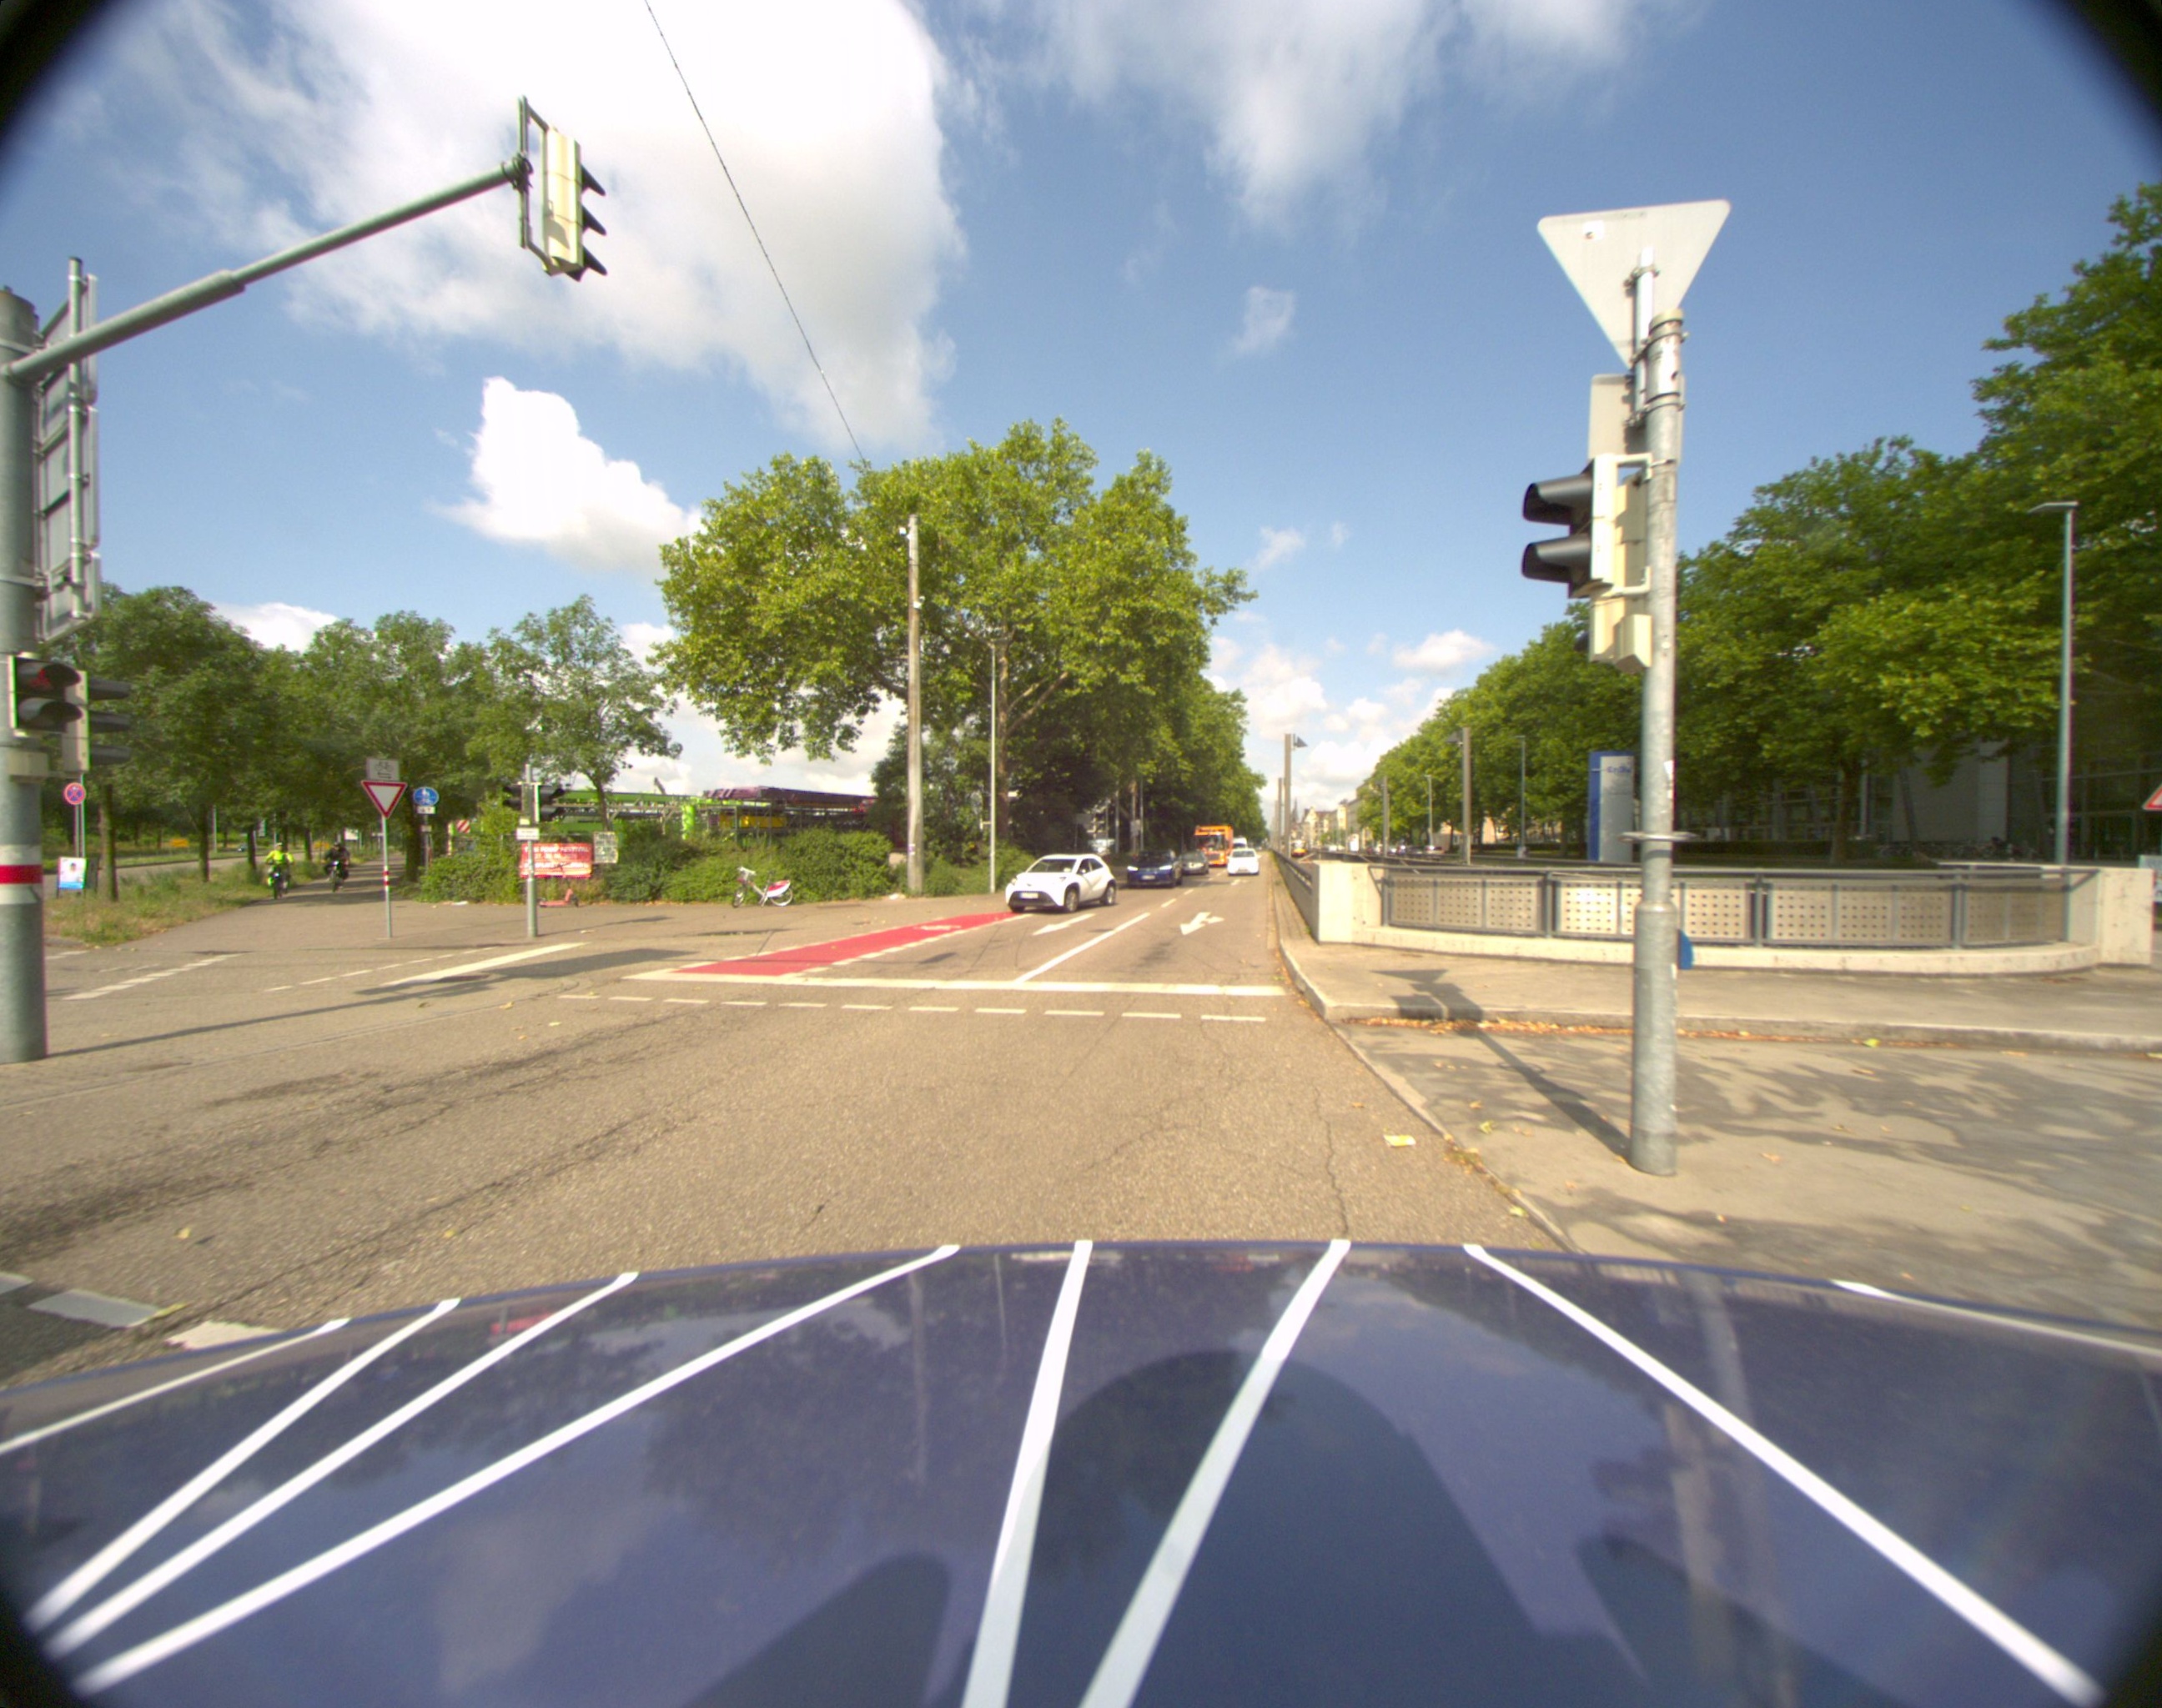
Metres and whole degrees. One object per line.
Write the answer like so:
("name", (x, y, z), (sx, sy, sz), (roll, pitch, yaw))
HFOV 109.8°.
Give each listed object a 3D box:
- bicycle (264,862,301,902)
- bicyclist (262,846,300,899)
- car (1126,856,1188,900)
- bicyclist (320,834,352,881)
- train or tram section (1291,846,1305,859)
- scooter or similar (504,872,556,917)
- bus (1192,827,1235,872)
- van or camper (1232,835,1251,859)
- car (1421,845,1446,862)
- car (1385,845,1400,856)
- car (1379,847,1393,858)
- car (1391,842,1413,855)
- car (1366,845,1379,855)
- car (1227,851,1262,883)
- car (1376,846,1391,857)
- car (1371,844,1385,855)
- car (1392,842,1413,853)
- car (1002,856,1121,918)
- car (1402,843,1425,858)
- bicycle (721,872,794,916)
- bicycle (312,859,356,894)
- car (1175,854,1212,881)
("bicycle", (-26.226, 0.919, 24.947), (2.227, 1.190, 0.679), (-3, 4, 42))
("bicyclist", (-26.255, 0.614, 24.927), (0.835, 1.670, 0.679), (-2, 4, 41))
("car", (3.304, 0.949, 32.242), (1.889, 1.566, 4.584), (-1, 1, 14))
("bicyclist", (-27.158, 0.132, 27.709), (0.679, 1.676, 0.753), (-2, 2, -36))
("train or tram section", (46.434, -0.334, 162.656), (2.214, 2.444, 6.252), (-1, 1, 9))
("scooter or similar", (-14.129, 1.033, 19.489), (1.010, 1.105, 0.409), (-1, 1, 2))
("bus", (11.162, -0.463, 63.308), (2.741, 3.446, 10.404), (-1, 1, 14))
("van or camper", (19.632, -0.884, 92.667), (2.161, 2.770, 5.970), (-1, 1, 13))
("car", (31.840, -0.095, 68.630), (1.419, 1.448, 3.160), (1, 1, 14))
("car", (35.467, -0.430, 86.426), (1.179, 1.236, 2.551), (0, 1, 14))
("car", (36.626, -0.194, 91.408), (1.166, 1.368, 2.748), (1, 1, 14))
("car", (34.788, -0.643, 82.431), (1.577, 1.368, 3.900), (1, 1, 14))
("car", (40.142, -0.584, 104.719), (1.307, 1.368, 3.188), (1, 1, 14))
("car", (9.067, 0.697, 42.249), (1.735, 1.477, 3.604), (-4, 1, 12))
("car", (37.904, -0.344, 95.163), (1.307, 1.368, 3.188), (1, 1, 14))
("car", (39.023, -0.650, 99.829), (1.307, 1.368, 3.188), (1, 1, 14))
("car", (34.706, -0.719, 82.100), (1.609, 1.199, 3.130), (1, 1, 13))
("car", (-0.421, 0.822, 20.626), (1.746, 1.470, 3.805), (0, 0, 24))
("car", (33.037, -0.366, 75.617), (1.580, 1.426, 3.160), (1, 1, 14))
("bicycle", (-8.398, 1.034, 19.768), (1.638, 1.037, 0.527), (-2, 5, -14))
("bicycle", (-27.183, 0.797, 27.681), (0.793, 1.189, 2.227), (-2, 1, -36))
("car", (6.736, 0.772, 45.162), (1.769, 1.456, 4.004), (-1, 1, 14))
